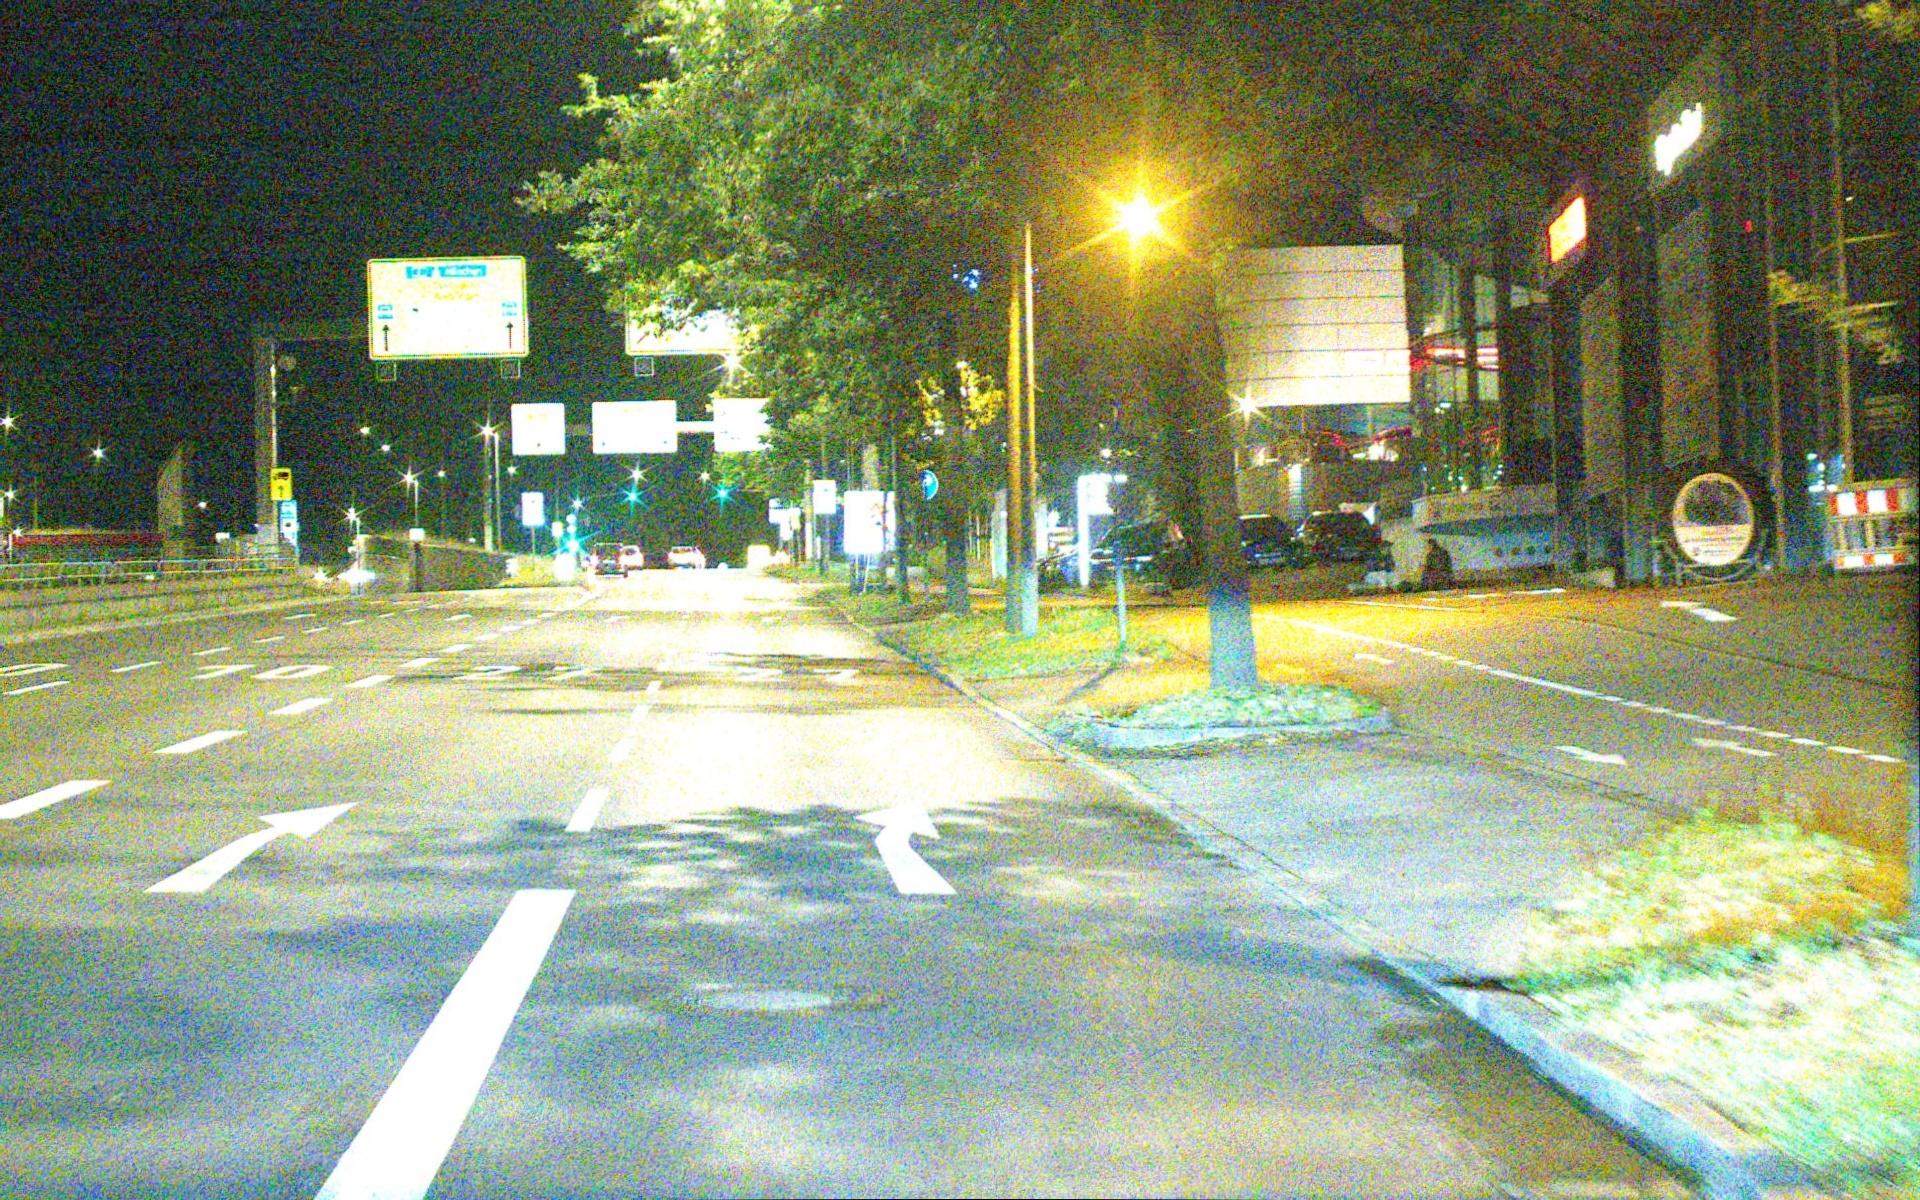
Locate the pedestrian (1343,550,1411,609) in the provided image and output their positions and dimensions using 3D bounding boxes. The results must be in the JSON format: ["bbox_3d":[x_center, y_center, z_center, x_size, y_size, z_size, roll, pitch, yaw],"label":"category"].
[{"bbox_3d":[7.469,-0.366,61.613,0.913,1.035,0.770,-2,0,40],"label":"pedestrian"}]

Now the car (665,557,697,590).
[{"bbox_3d":[-17.987,-1.683,222.022,1.993,2.007,4.000,0,-1,-4],"label":"car"}]

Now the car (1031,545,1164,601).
[{"bbox_3d":[3.862,-0.761,97.119,3.509,1.503,1.736,1,-1,-7],"label":"car"}]

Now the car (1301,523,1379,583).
[{"bbox_3d":[10.197,-1.249,92.373,1.893,1.506,3.635,0,-1,3],"label":"car"}]

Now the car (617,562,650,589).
[{"bbox_3d":[-21.060,-1.567,221.799,1.993,1.590,4.000,-1,-1,-4],"label":"car"}]

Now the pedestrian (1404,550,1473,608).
[{"bbox_3d":[8.591,-0.375,61.738,0.997,1.004,0.772,1,-1,-19],"label":"pedestrian"}]

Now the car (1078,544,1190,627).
[{"bbox_3d":[4.263,-0.330,83.626,1.995,1.938,3.997,0,-1,14],"label":"car"}]

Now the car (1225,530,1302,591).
[{"bbox_3d":[8.014,-1.032,90.983,1.893,1.506,3.635,0,-1,3],"label":"car"}]

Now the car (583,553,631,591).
[{"bbox_3d":[-16.714,-1.314,162.953,1.968,1.705,4.000,0,-1,-1],"label":"car"}]

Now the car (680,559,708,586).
[{"bbox_3d":[-17.855,-1.818,230.878,1.780,1.722,4.000,0,-1,-4],"label":"car"}]

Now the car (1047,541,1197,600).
[{"bbox_3d":[4.178,-0.763,89.038,3.623,1.446,1.708,1,-1,-7],"label":"car"}]
